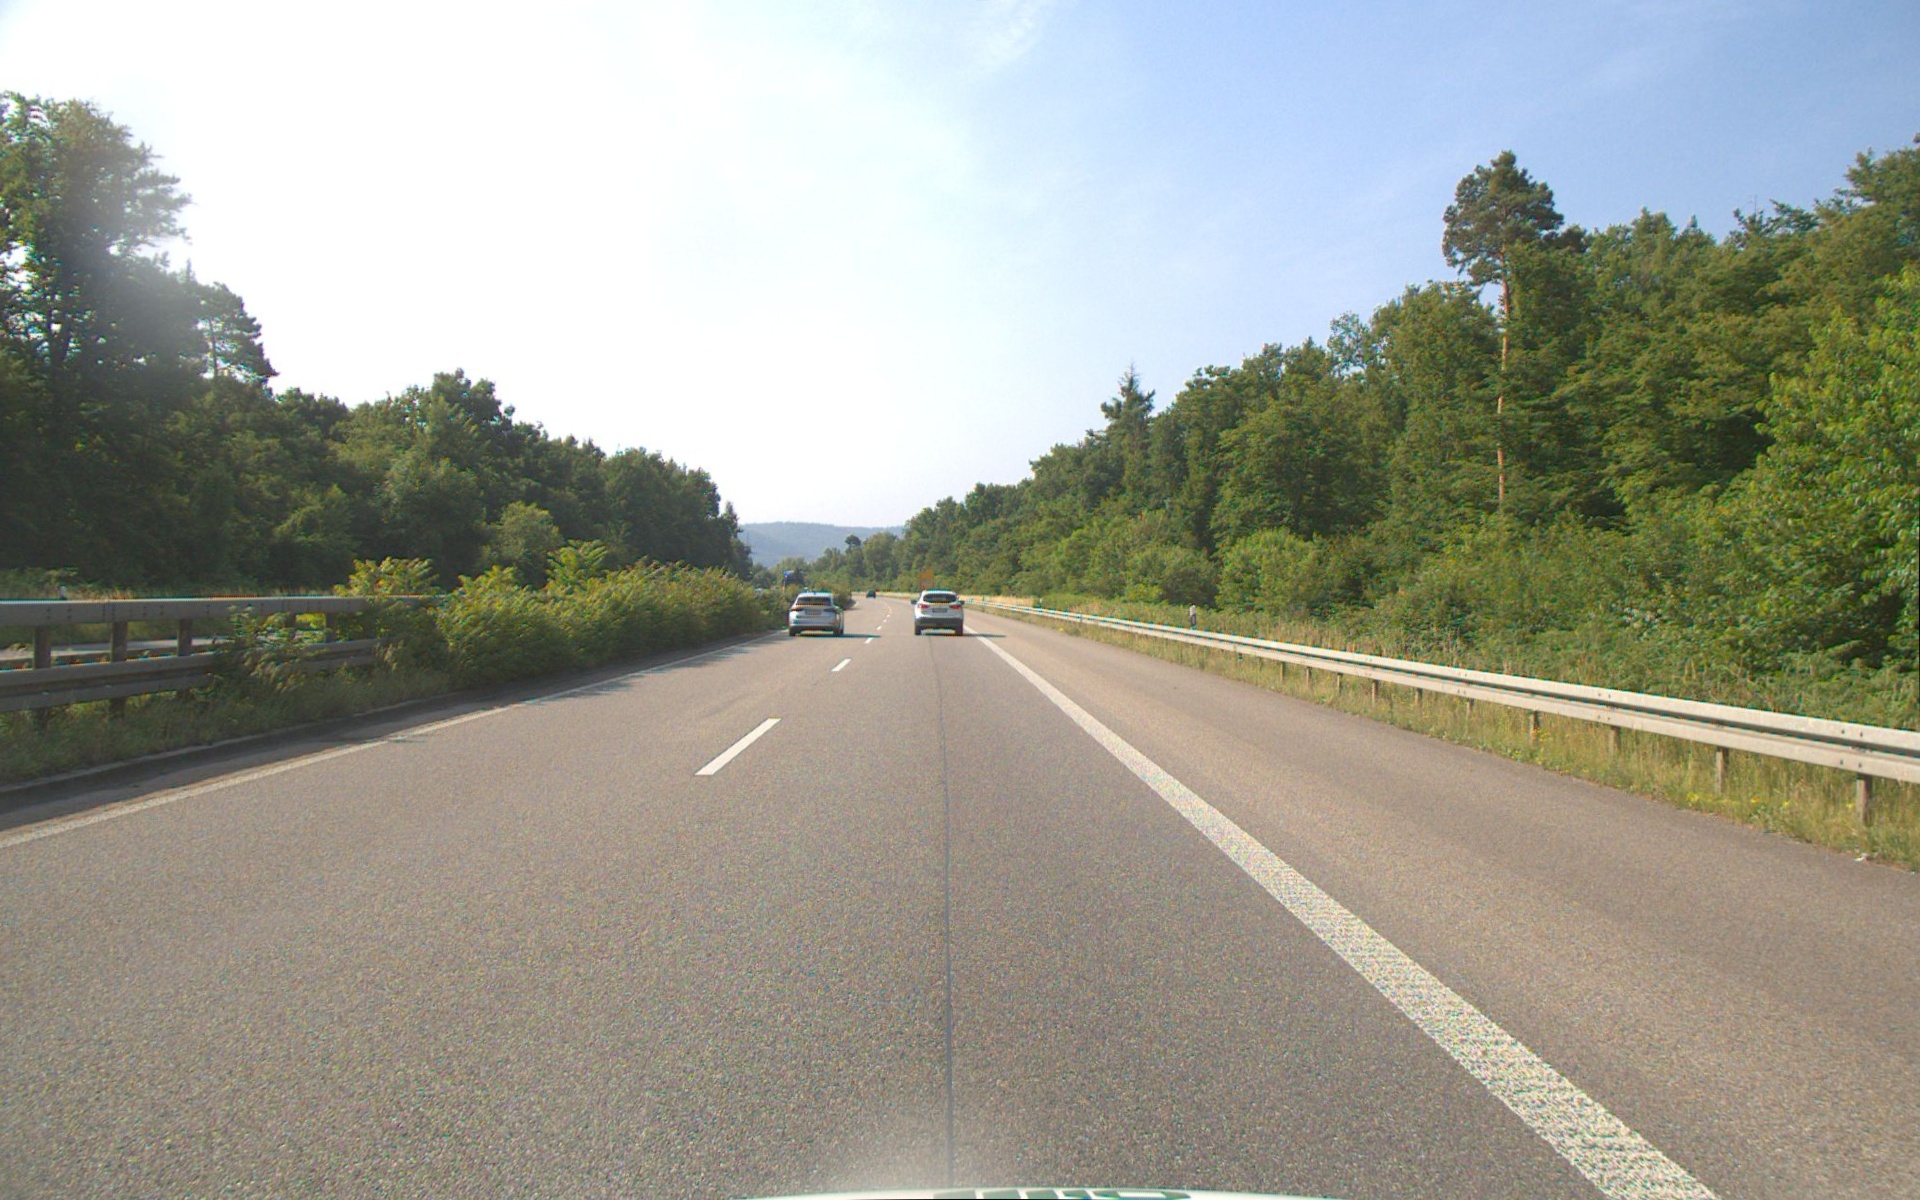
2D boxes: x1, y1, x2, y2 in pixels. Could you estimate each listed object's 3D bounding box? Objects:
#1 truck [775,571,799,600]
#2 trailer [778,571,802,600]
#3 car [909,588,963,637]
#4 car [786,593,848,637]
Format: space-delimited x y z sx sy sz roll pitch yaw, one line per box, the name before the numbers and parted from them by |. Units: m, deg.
truck | -24.678 -2.038 236.071 2.729 4.068 8.412 1 0 -2
trailer | -24.958 -2.096 242.898 2.774 4.068 11.429 1 0 -2
car | -0.915 0.431 60.937 1.836 1.613 3.998 3 1 -2
car | -4.944 0.490 57.756 1.756 1.463 5.278 0 0 0
